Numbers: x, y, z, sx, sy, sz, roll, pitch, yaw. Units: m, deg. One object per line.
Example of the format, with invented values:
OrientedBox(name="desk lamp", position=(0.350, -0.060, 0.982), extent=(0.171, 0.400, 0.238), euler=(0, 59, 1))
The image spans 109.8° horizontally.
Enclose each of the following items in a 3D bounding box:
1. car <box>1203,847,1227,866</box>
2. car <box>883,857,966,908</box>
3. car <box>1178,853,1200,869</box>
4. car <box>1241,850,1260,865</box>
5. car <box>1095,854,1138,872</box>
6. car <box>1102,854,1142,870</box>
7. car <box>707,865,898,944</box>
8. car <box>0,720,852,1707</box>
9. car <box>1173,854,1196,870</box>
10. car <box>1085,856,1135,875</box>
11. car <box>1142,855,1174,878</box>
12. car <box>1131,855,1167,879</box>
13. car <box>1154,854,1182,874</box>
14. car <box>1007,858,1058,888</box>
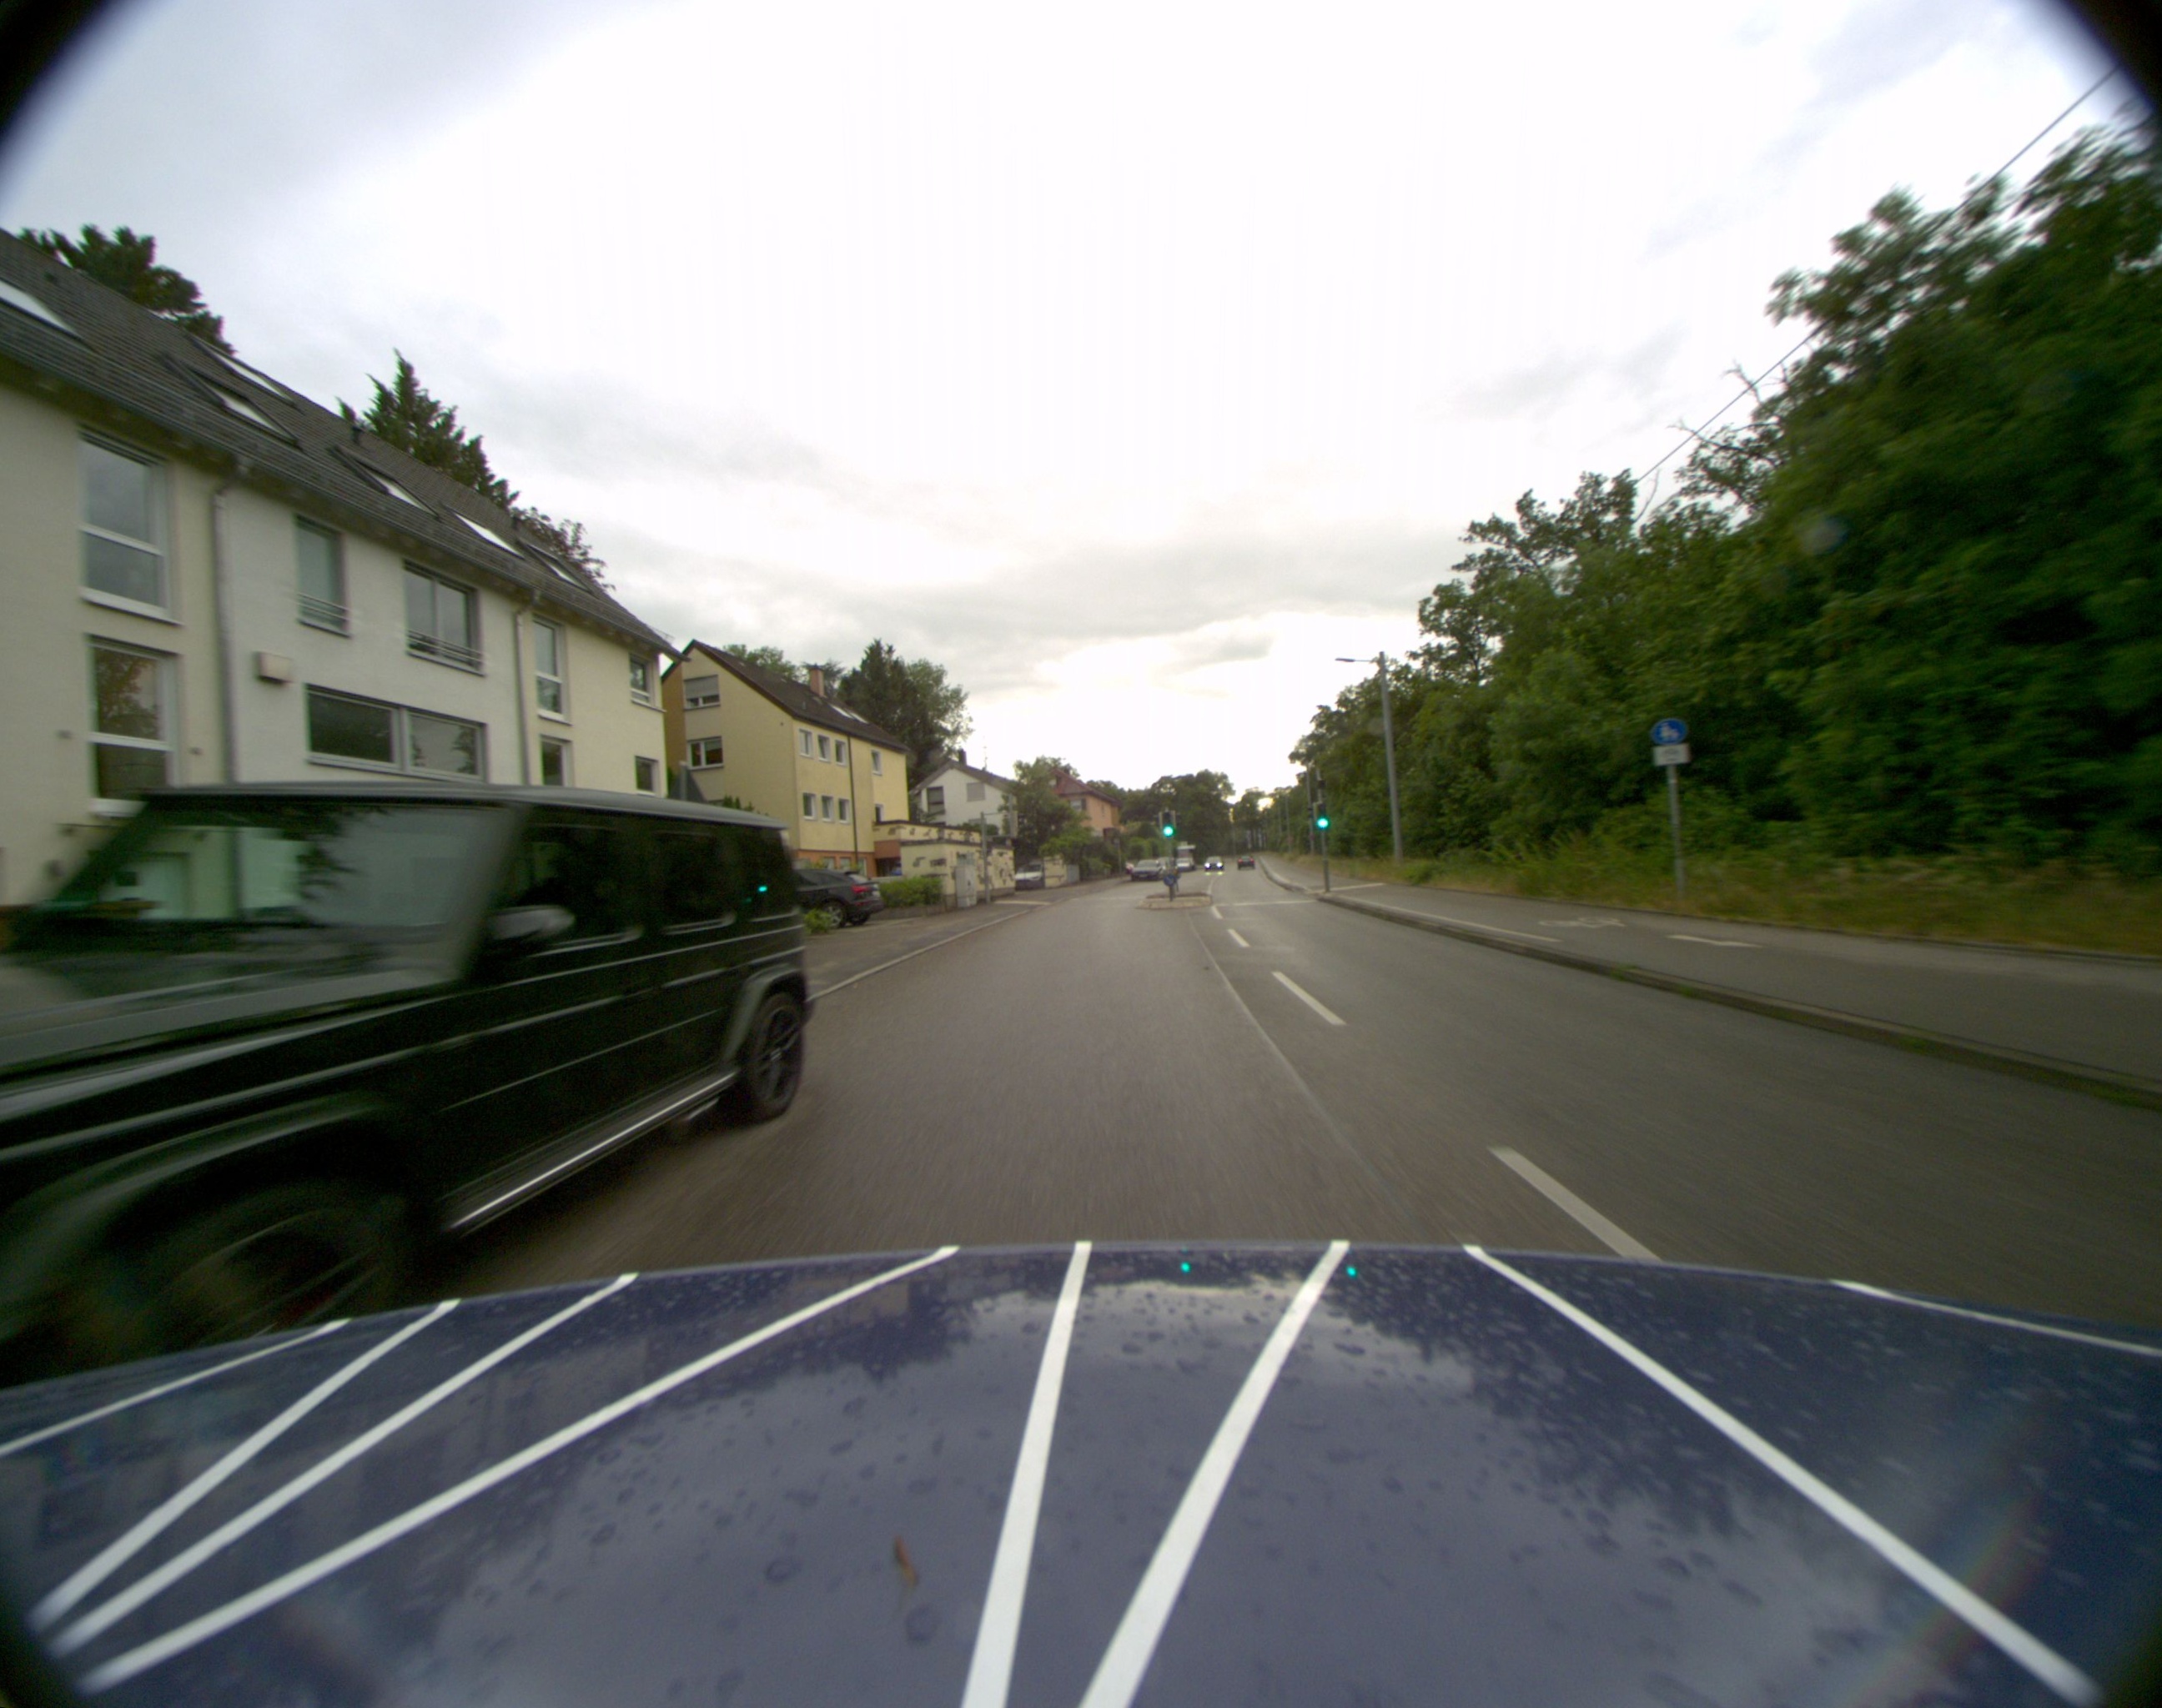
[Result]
OrientedBox(name="car", position=(13.498, 0.233, 76.407), extent=(1.996, 1.714, 4.004), euler=(-3, 0, 15))
OrientedBox(name="car", position=(-5.986, 1.045, 29.573), extent=(1.936, 1.586, 4.343), euler=(-6, 0, 4))
OrientedBox(name="car", position=(12.018, 0.777, 84.231), extent=(1.832, 1.538, 4.634), euler=(-3, 1, 15))
OrientedBox(name="car", position=(17.560, 0.326, 78.783), extent=(1.746, 1.451, 4.418), euler=(-3, 0, 14))
OrientedBox(name="car", position=(3.338, 0.830, 71.059), extent=(3.663, 1.557, 1.884), euler=(-1, 1, 13))
OrientedBox(name="car", position=(3.974, 0.814, 73.992), extent=(3.663, 1.527, 1.830), euler=(0, 0, 10))
OrientedBox(name="car", position=(-7.516, 1.335, 20.779), extent=(4.337, 1.586, 1.993), euler=(-6, 0, 5))
OrientedBox(name="car", position=(-2.856, 0.775, 3.407), extent=(1.998, 2.002, 4.957), euler=(-1, 0, 1))
OrientedBox(name="car", position=(10.865, 0.836, 79.478), extent=(1.815, 1.390, 4.106), euler=(-3, 1, 14))
OrientedBox(name="car", position=(2.645, 1.016, 69.099), extent=(4.252, 1.452, 1.884), euler=(-3, 1, 13))
OrientedBox(name="car", position=(5.916, 0.943, 57.938), extent=(1.796, 1.478, 4.499), euler=(-3, 1, 13))
OrientedBox(name="car", position=(4.757, 0.874, 52.629), extent=(1.754, 1.435, 4.604), euler=(-3, 0, 13))
OrientedBox(name="car", position=(7.320, 0.789, 63.880), extent=(1.733, 1.558, 4.526), euler=(-2, 0, 13))
OrientedBox(name="car", position=(-3.005, 1.175, 48.017), extent=(1.935, 1.587, 4.345), euler=(-4, 0, 13))
